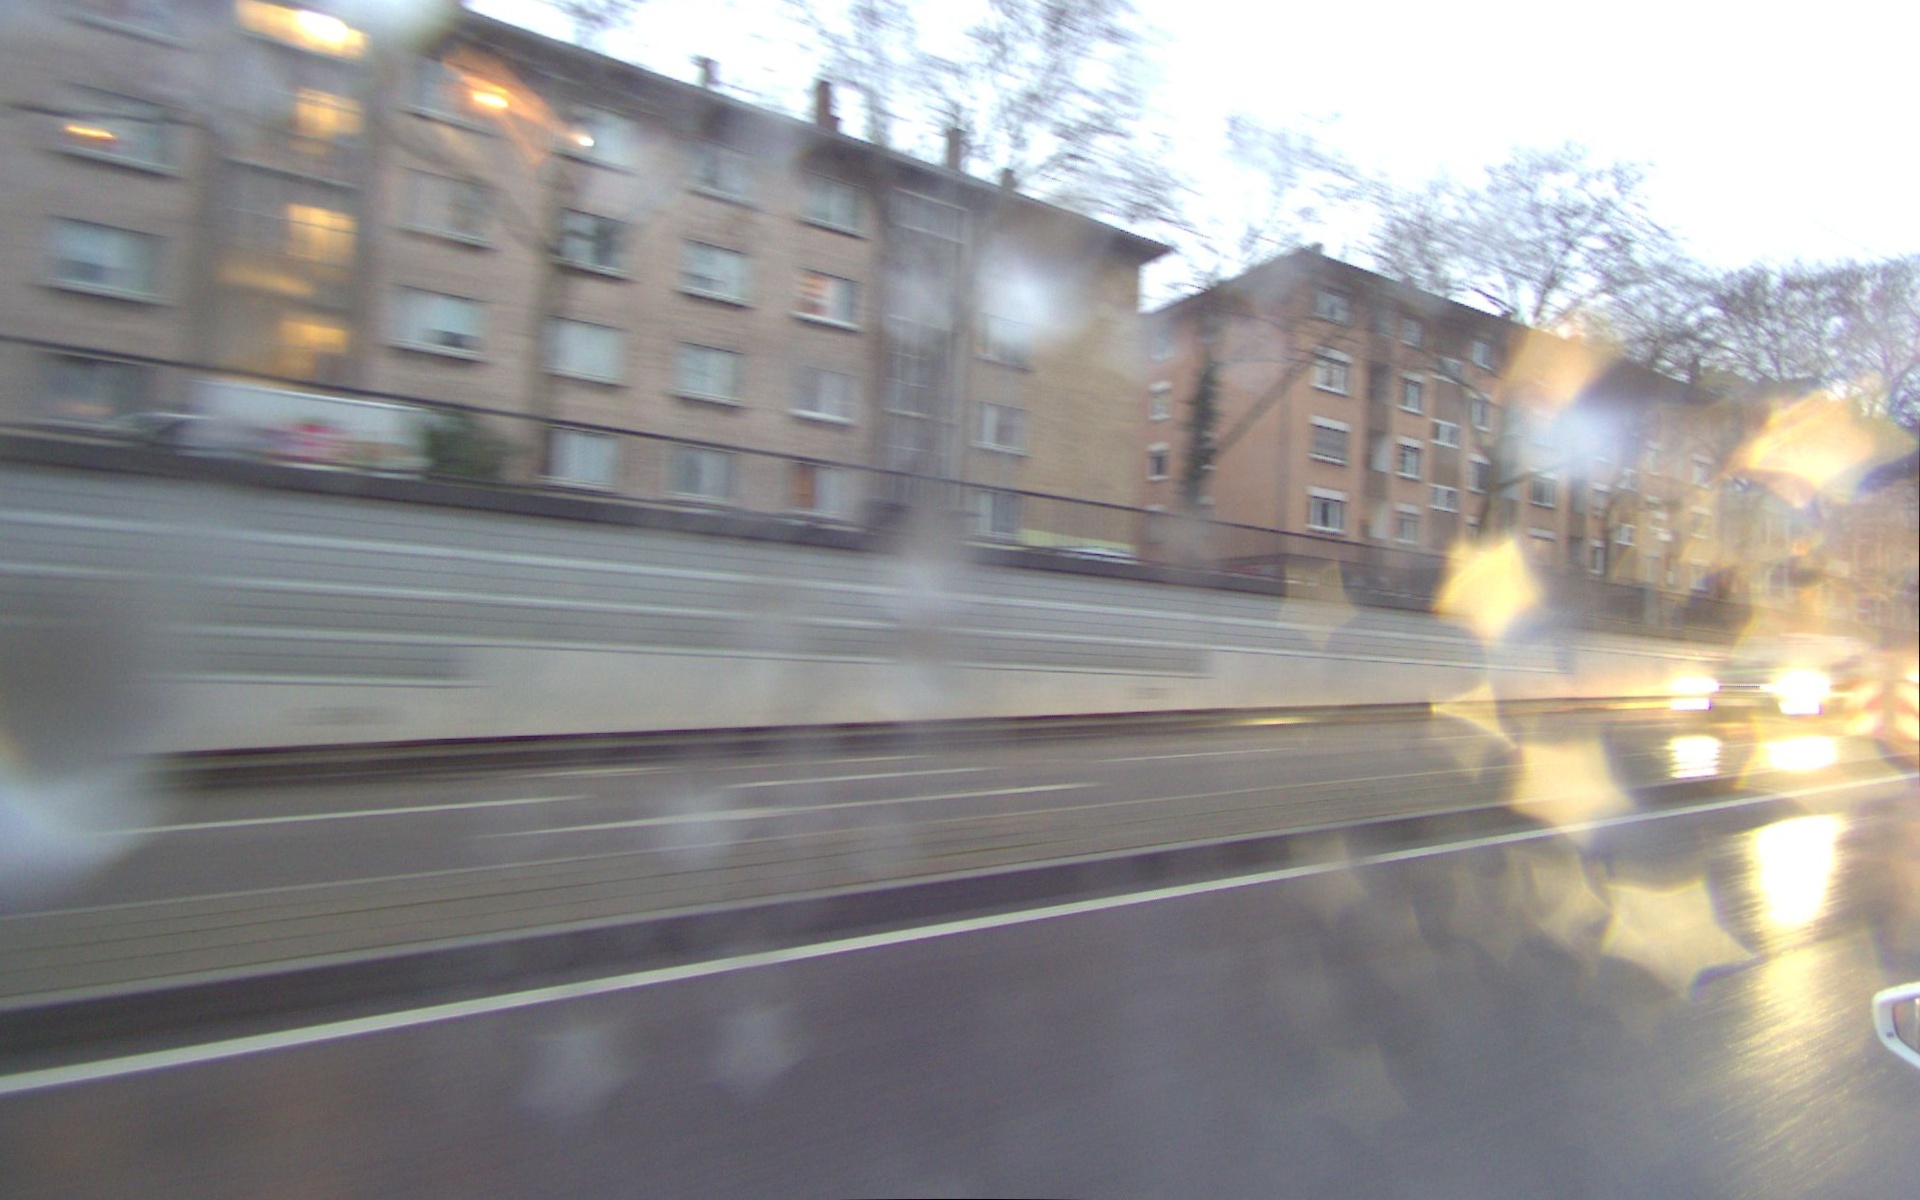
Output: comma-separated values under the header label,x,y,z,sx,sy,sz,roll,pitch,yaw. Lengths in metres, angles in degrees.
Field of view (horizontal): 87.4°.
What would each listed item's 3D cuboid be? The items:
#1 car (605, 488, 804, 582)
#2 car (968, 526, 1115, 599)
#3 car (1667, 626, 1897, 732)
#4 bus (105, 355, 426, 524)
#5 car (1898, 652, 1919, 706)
label,x,y,z,sx,sy,sz,roll,pitch,yaw
car,-5.466,-1.322,21.635,3.835,1.491,1.557,4,-5,-31
car,2.153,-0.919,26.157,3.585,1.491,1.557,4,-5,-31
car,14.031,1.295,17.124,3.795,1.613,1.777,2,-3,-30
bus,-11.027,-2.482,16.359,4.015,1.894,1.688,4,-4,-29
car,28.858,2.259,28.921,3.829,1.510,1.666,2,-3,-31
